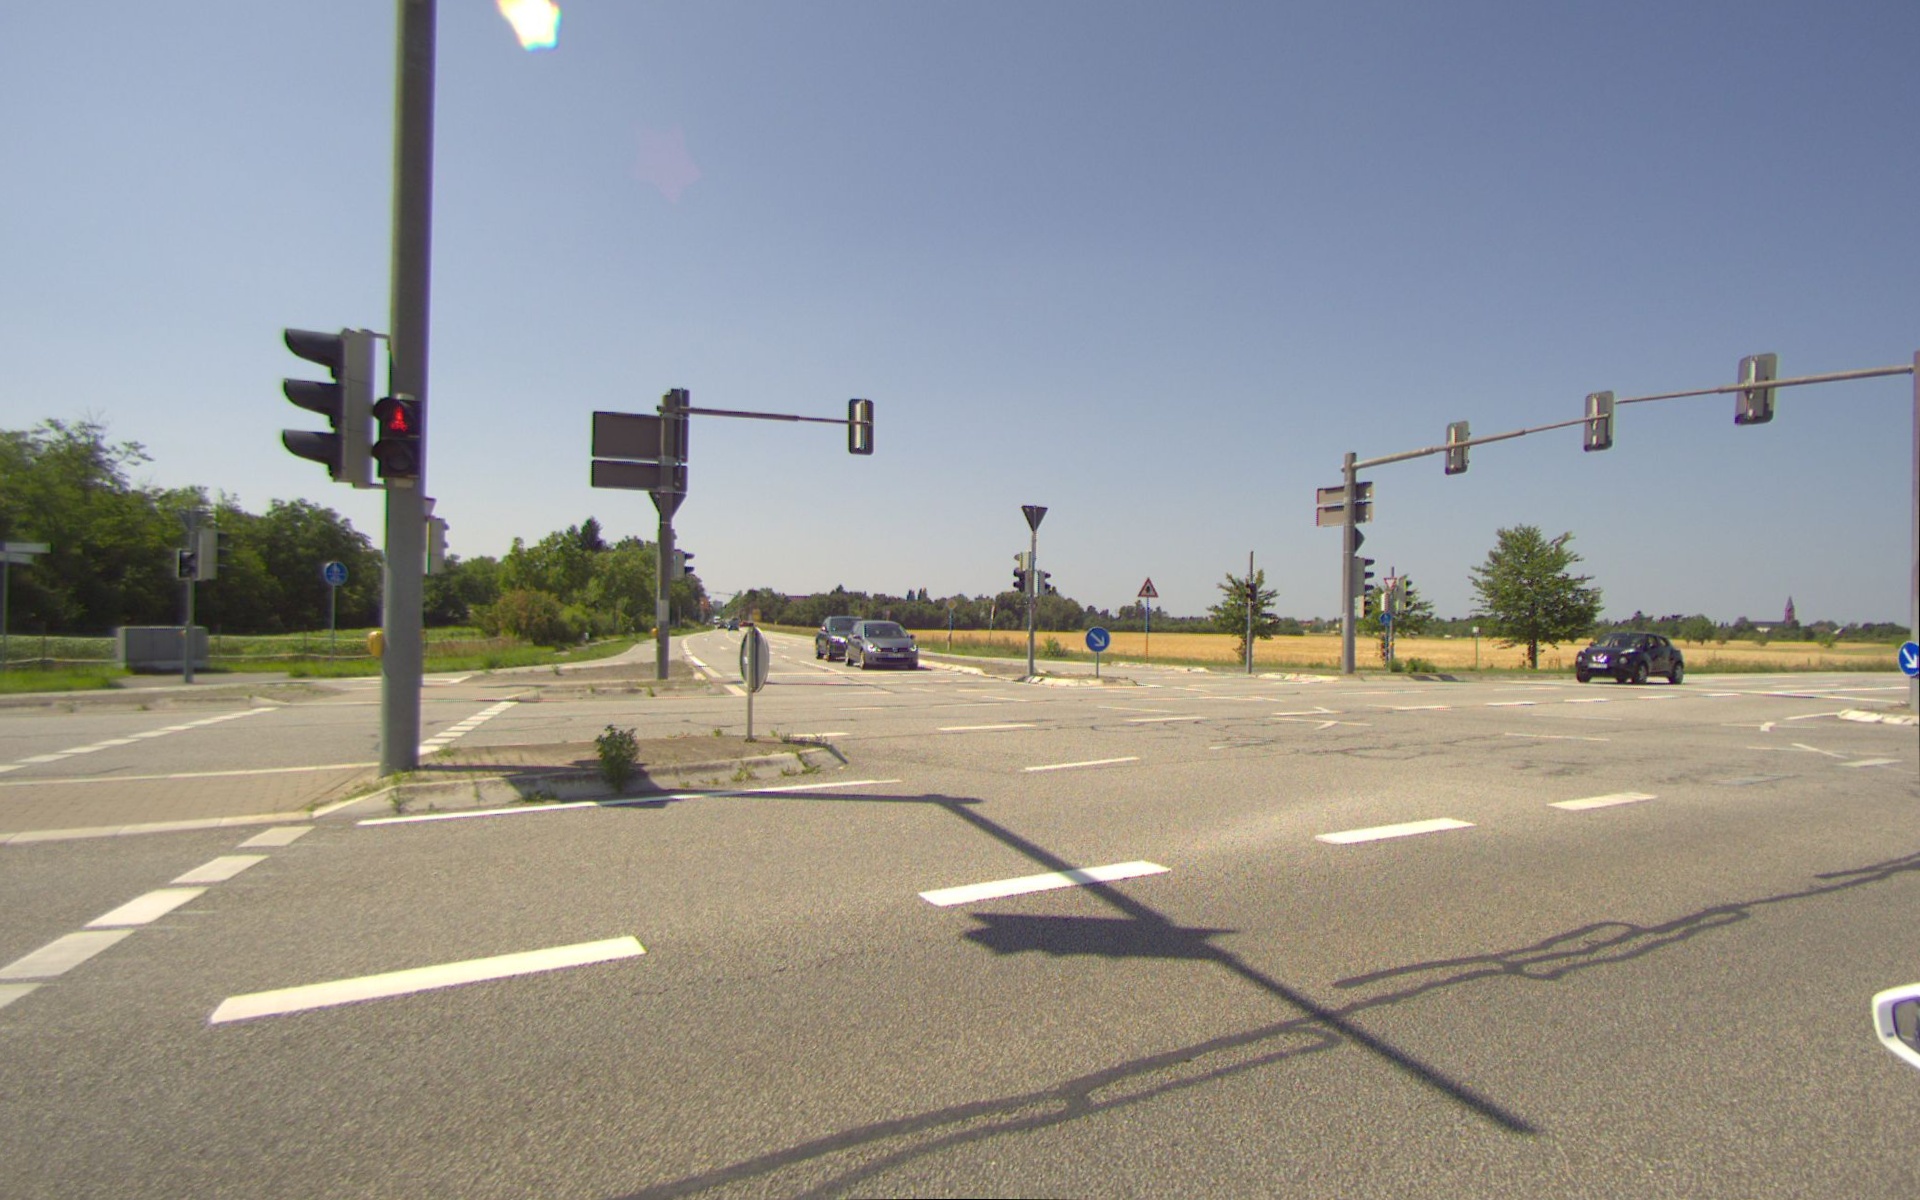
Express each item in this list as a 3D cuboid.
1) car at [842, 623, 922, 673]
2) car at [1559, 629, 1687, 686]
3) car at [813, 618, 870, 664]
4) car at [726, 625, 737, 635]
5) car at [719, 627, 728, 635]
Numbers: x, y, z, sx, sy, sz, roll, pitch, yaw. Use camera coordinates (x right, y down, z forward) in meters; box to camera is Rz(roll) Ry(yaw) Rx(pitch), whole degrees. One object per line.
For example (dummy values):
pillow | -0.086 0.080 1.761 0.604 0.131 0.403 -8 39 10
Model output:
car | -2.534 1.477 31.672 1.609 1.405 3.864 1 -1 -19
car | 20.406 1.755 30.866 4.261 1.621 1.819 3 -2 -34
car | -4.519 1.535 37.793 1.607 1.615 4.358 1 -2 -14
car | -33.744 4.456 148.425 1.474 1.405 3.765 1 -2 -14
car | -41.933 5.563 178.061 1.474 1.405 3.765 1 -2 -14
